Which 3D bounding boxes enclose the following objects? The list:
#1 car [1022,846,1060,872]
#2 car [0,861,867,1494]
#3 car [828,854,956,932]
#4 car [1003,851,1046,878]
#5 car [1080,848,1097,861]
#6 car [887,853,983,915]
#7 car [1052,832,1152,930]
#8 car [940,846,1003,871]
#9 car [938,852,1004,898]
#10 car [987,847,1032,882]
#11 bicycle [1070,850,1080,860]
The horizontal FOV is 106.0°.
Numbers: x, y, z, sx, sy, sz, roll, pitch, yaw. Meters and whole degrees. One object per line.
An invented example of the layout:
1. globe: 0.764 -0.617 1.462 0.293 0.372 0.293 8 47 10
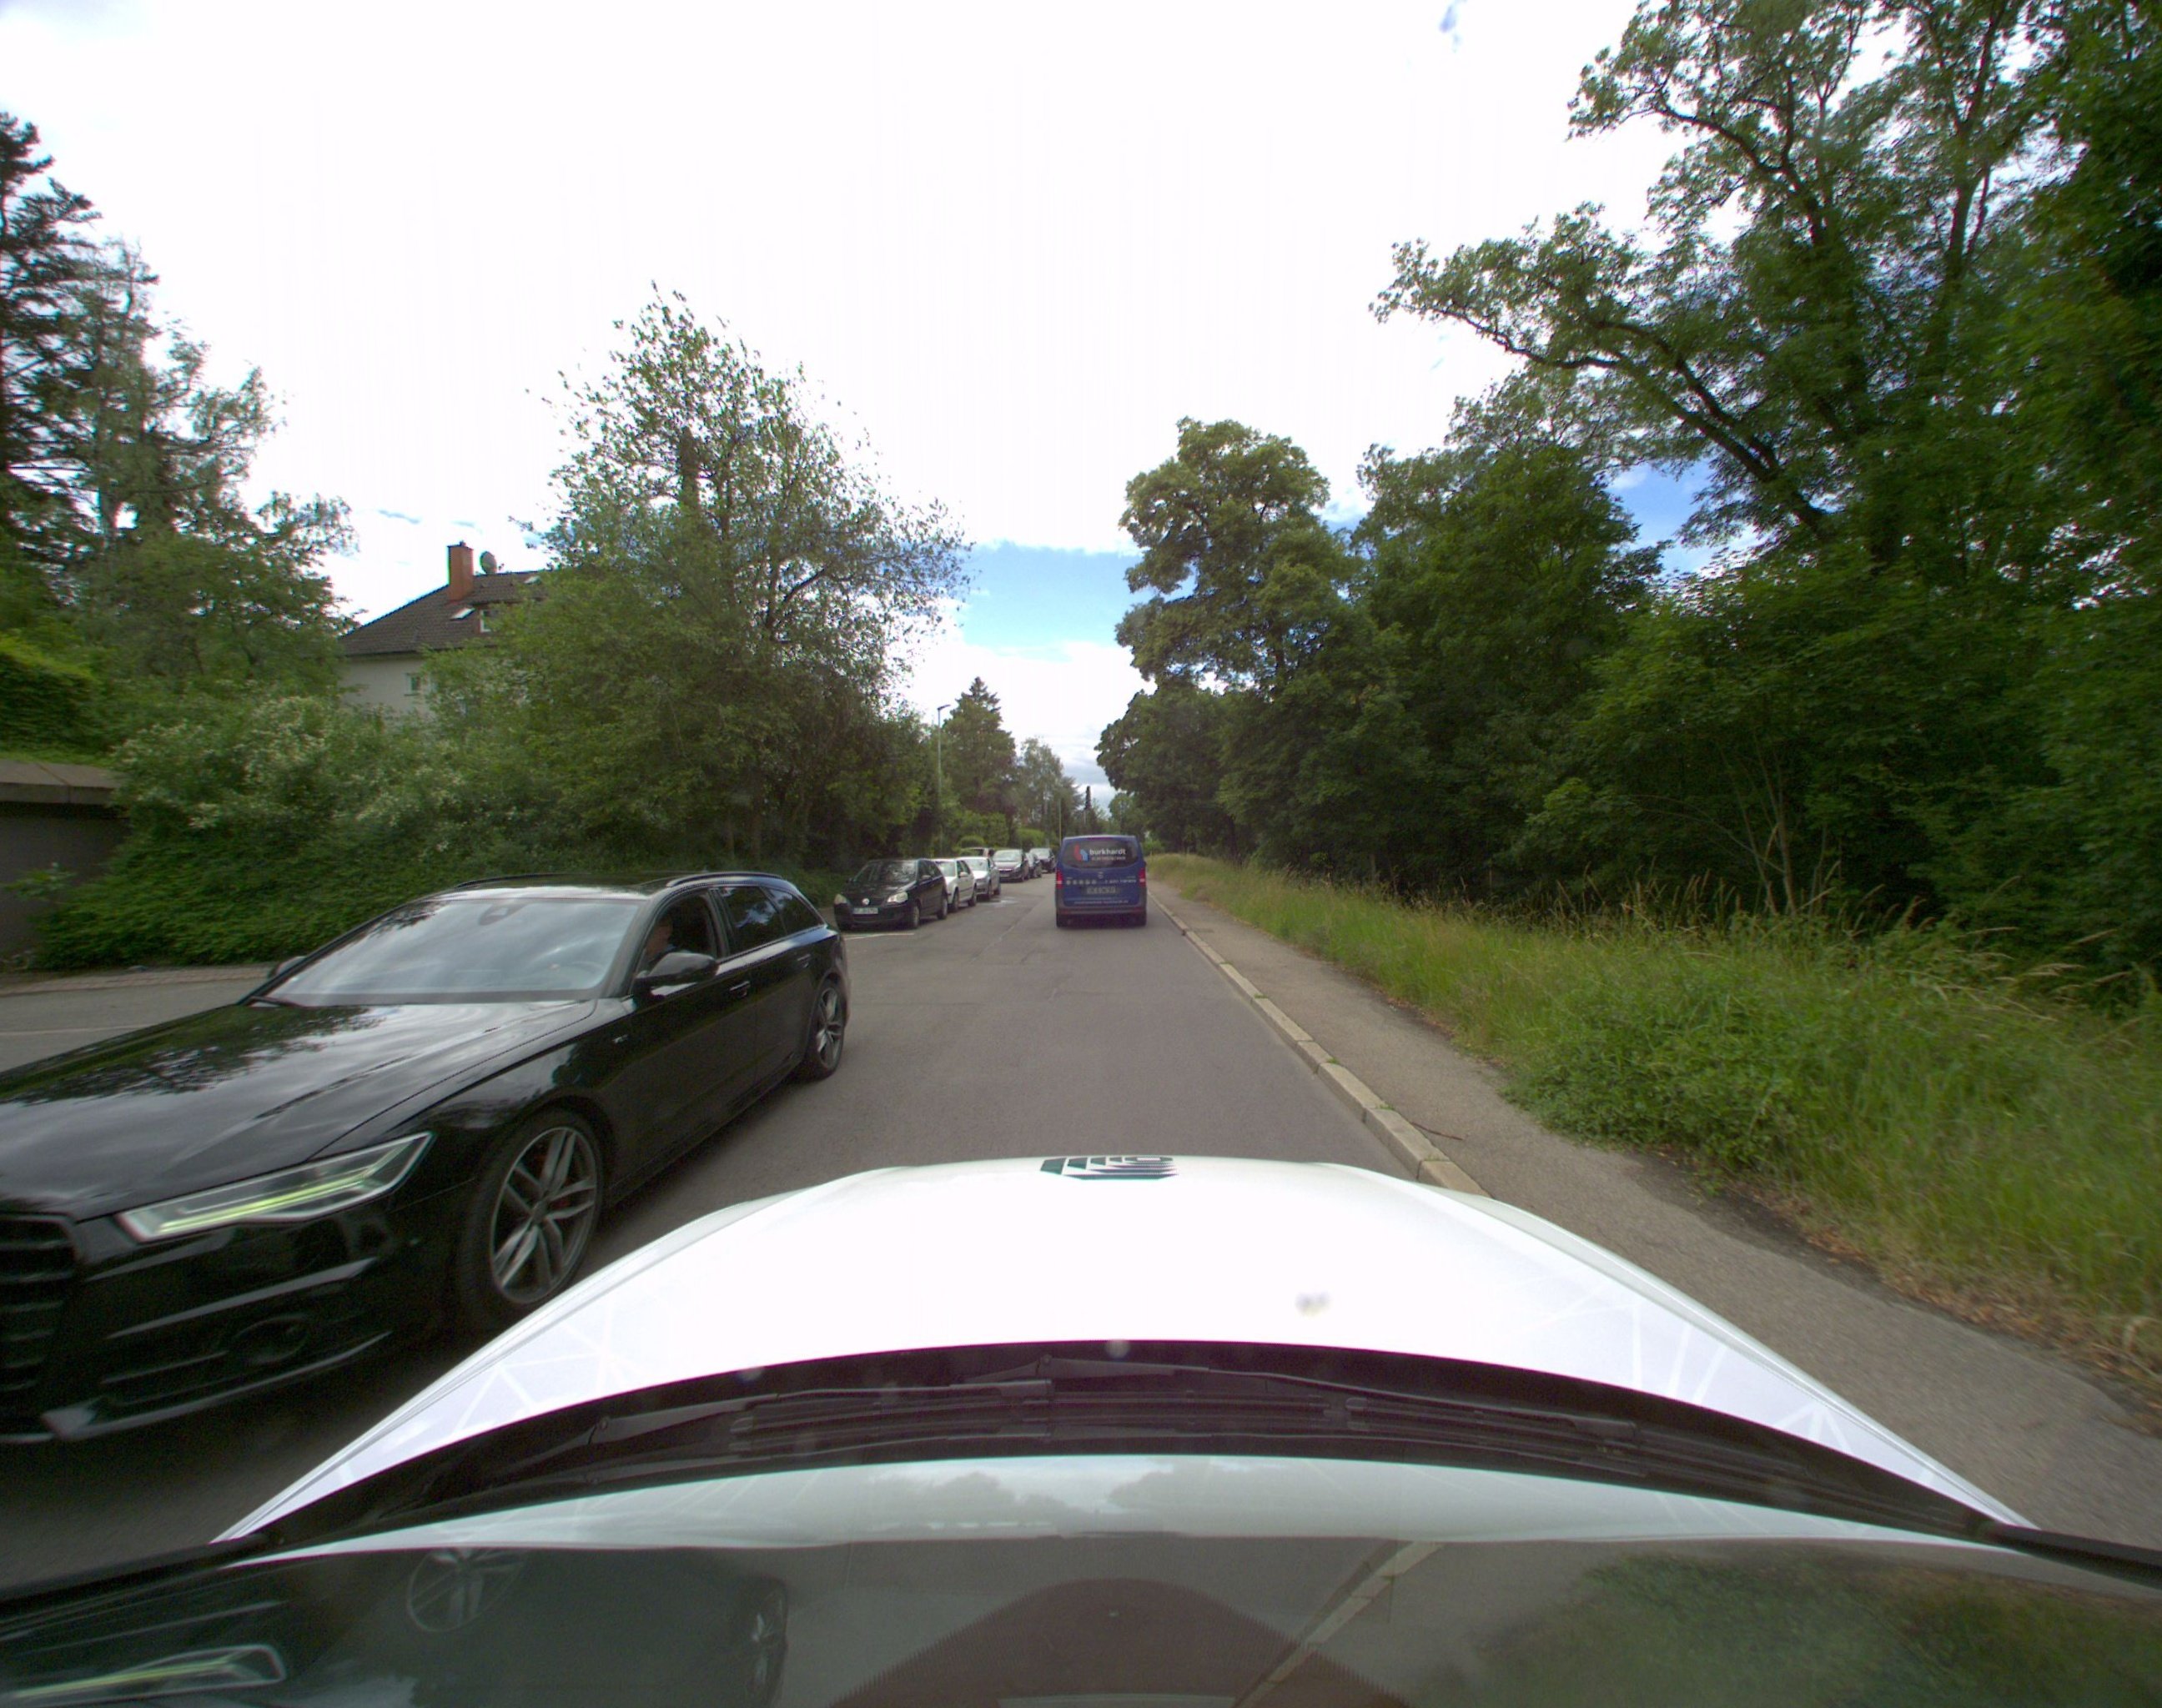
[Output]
1. car: -2.736 0.338 56.831 1.965 1.736 5.196 0 0 5
2. car: -2.615 0.791 4.170 1.774 1.426 4.490 -1 0 1
3. car: -4.017 0.760 17.931 1.616 1.450 3.973 -2 0 4
4. car: -3.136 0.563 46.108 1.746 1.412 4.904 0 0 5
5. car: 1.053 0.064 108.026 1.827 1.631 4.307 1 0 5
6. car: -3.925 0.753 22.653 1.653 1.452 4.385 -2 1 3
7. car: 0.372 0.478 17.878 1.883 1.844 3.998 -2 1 -1
8. car: -7.261 0.299 54.069 3.665 1.637 1.835 0 0 15
9. car: -3.734 0.681 28.268 1.617 1.450 4.095 0 1 1
10. car: -3.501 0.467 40.663 1.725 1.632 4.570 0 0 1
11. bicycle: -0.774 0.168 105.211 0.901 1.252 2.920 2 0 5
